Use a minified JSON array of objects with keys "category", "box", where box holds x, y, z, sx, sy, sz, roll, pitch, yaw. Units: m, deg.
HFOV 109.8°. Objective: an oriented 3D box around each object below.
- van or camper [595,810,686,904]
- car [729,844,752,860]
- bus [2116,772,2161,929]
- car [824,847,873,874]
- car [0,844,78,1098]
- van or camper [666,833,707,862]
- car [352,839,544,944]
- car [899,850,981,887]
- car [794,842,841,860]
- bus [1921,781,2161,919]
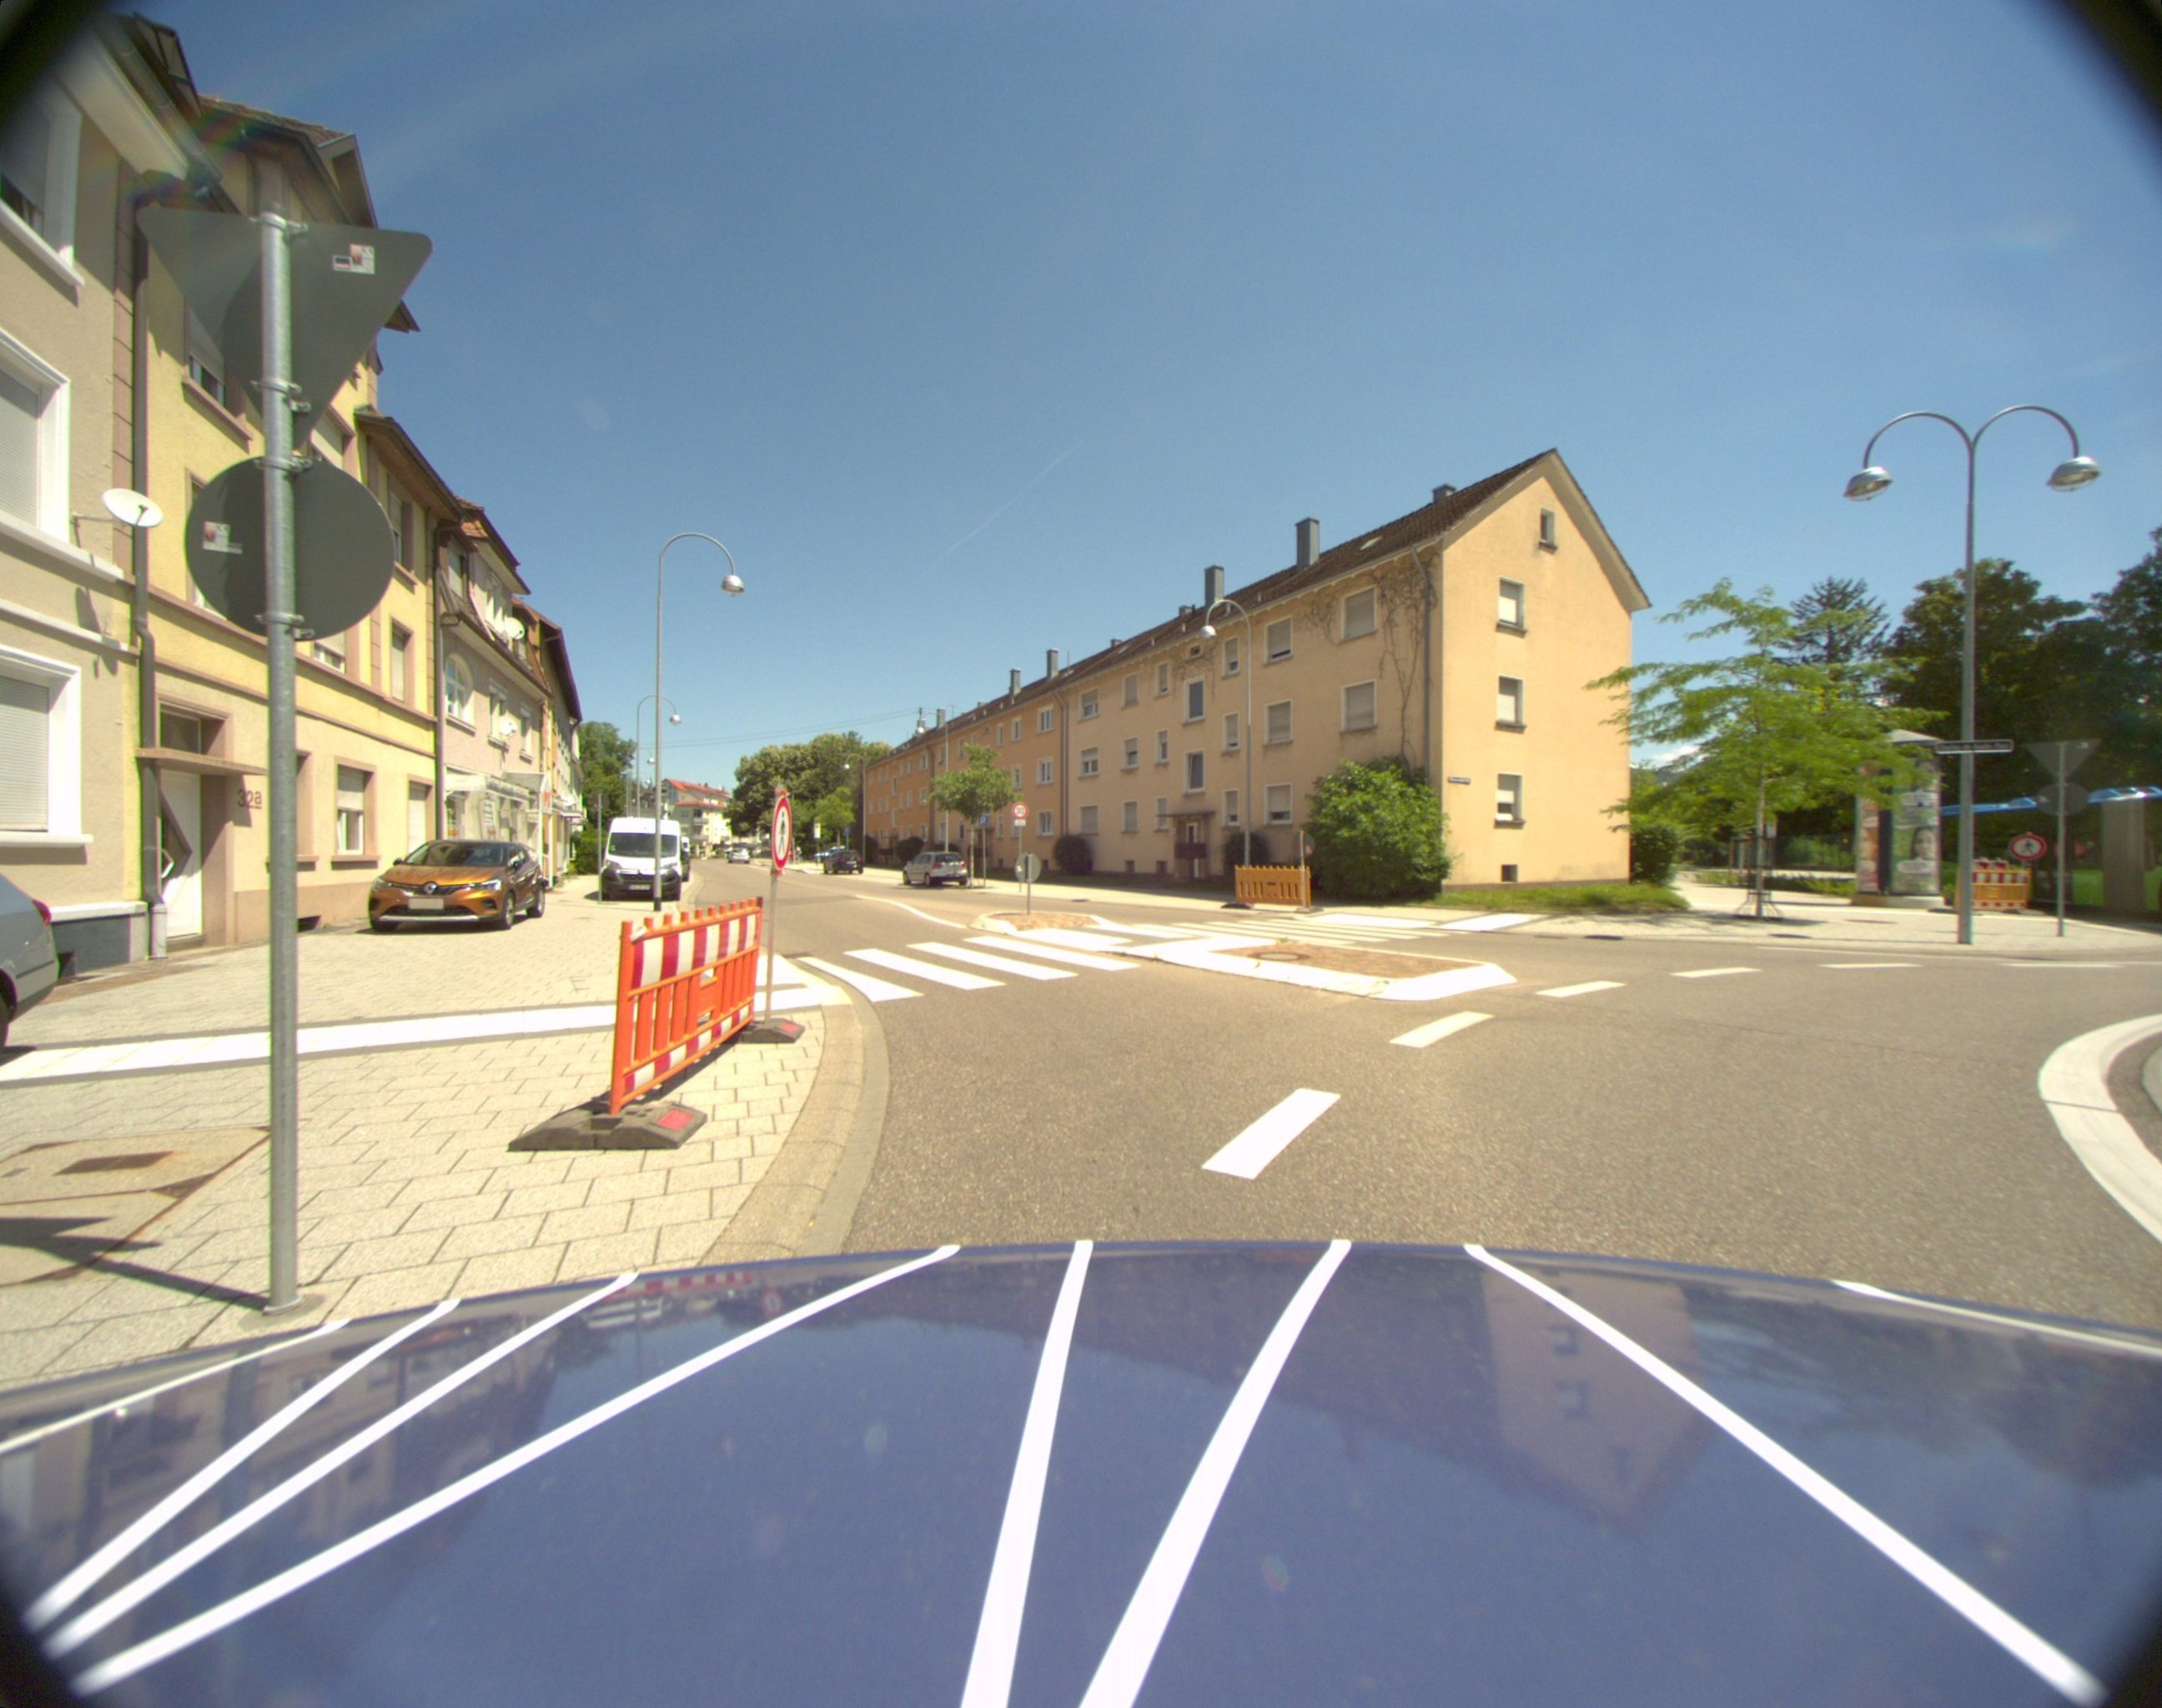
[{"category":"van or camper","box":[-13.653,0.064,23.849,2.175,2.574,5.752,1,0,-28]},{"category":"car","box":[-32.710,-0.213,72.950,1.668,1.488,3.750,0,1,-31]},{"category":"bus","box":[22.021,-0.111,12.281,2.956,3.304,10.105,-2,-1,34]},{"category":"car","box":[-14.618,0.377,47.571,1.866,1.498,4.551,-3,1,-30]},{"category":"car","box":[-6.541,0.724,2.653,1.772,1.521,4.679,1,1,-27]},{"category":"van or camper","box":[-35.371,-0.501,68.052,2.119,2.453,6.160,-1,0,-38]},{"category":"car","box":[-11.277,0.582,13.890,1.681,1.610,4.353,2,0,-26]},{"category":"car","box":[-6.263,0.578,33.359,2.003,1.412,4.077,-3,2,-34]},{"category":"car","box":[-28.671,-0.365,82.778,4.446,1.863,1.814,-2,2,-39]},{"category":"bus","box":[27.070,-0.185,20.612,2.823,3.092,8.939,-2,0,28]}]
